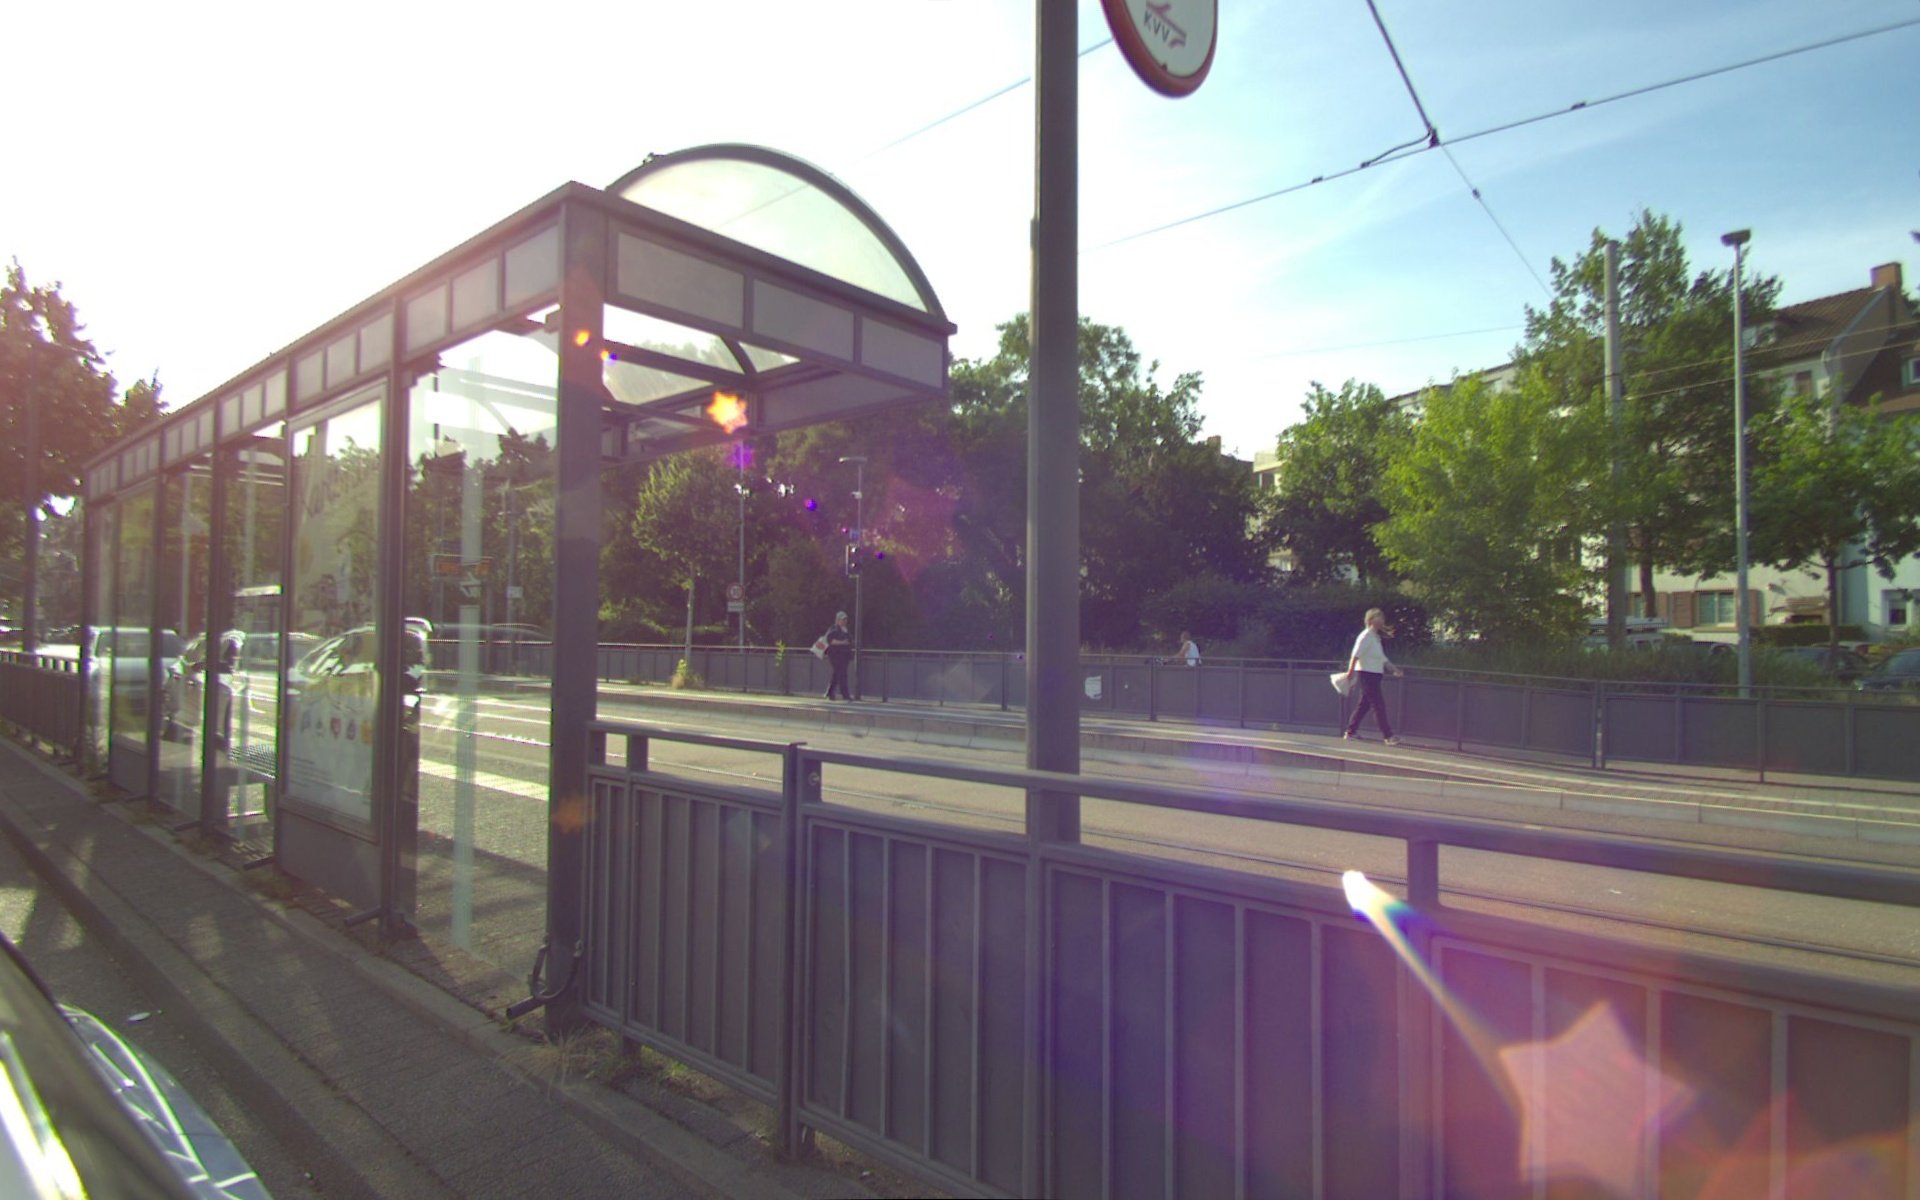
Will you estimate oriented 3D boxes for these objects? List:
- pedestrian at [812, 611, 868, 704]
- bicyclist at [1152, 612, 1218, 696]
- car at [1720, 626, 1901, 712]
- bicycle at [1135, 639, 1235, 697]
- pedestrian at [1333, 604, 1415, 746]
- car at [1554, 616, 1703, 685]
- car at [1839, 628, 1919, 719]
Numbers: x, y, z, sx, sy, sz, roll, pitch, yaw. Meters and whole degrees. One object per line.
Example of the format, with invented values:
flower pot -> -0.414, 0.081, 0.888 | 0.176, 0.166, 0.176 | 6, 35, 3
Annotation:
pedestrian -> -2.184, 1.037, 18.405 | 0.689, 1.640, 0.727 | -2, -3, 41
bicyclist -> 4.600, 1.094, 20.692 | 1.071, 1.636, 0.697 | -2, -1, 42
car -> 18.987, 1.488, 22.575 | 3.931, 1.767, 1.860 | 2, -3, -30
bicycle -> 4.587, 1.364, 20.722 | 1.864, 1.118, 0.718 | -2, -1, 42
pedestrian -> 5.012, 0.888, 12.247 | 0.727, 1.640, 0.699 | -2, -3, 41
car -> 18.443, 1.387, 27.894 | 3.931, 1.767, 1.860 | 2, -3, -30
car -> 20.199, 1.497, 20.922 | 3.931, 1.767, 1.860 | 2, -3, -30
